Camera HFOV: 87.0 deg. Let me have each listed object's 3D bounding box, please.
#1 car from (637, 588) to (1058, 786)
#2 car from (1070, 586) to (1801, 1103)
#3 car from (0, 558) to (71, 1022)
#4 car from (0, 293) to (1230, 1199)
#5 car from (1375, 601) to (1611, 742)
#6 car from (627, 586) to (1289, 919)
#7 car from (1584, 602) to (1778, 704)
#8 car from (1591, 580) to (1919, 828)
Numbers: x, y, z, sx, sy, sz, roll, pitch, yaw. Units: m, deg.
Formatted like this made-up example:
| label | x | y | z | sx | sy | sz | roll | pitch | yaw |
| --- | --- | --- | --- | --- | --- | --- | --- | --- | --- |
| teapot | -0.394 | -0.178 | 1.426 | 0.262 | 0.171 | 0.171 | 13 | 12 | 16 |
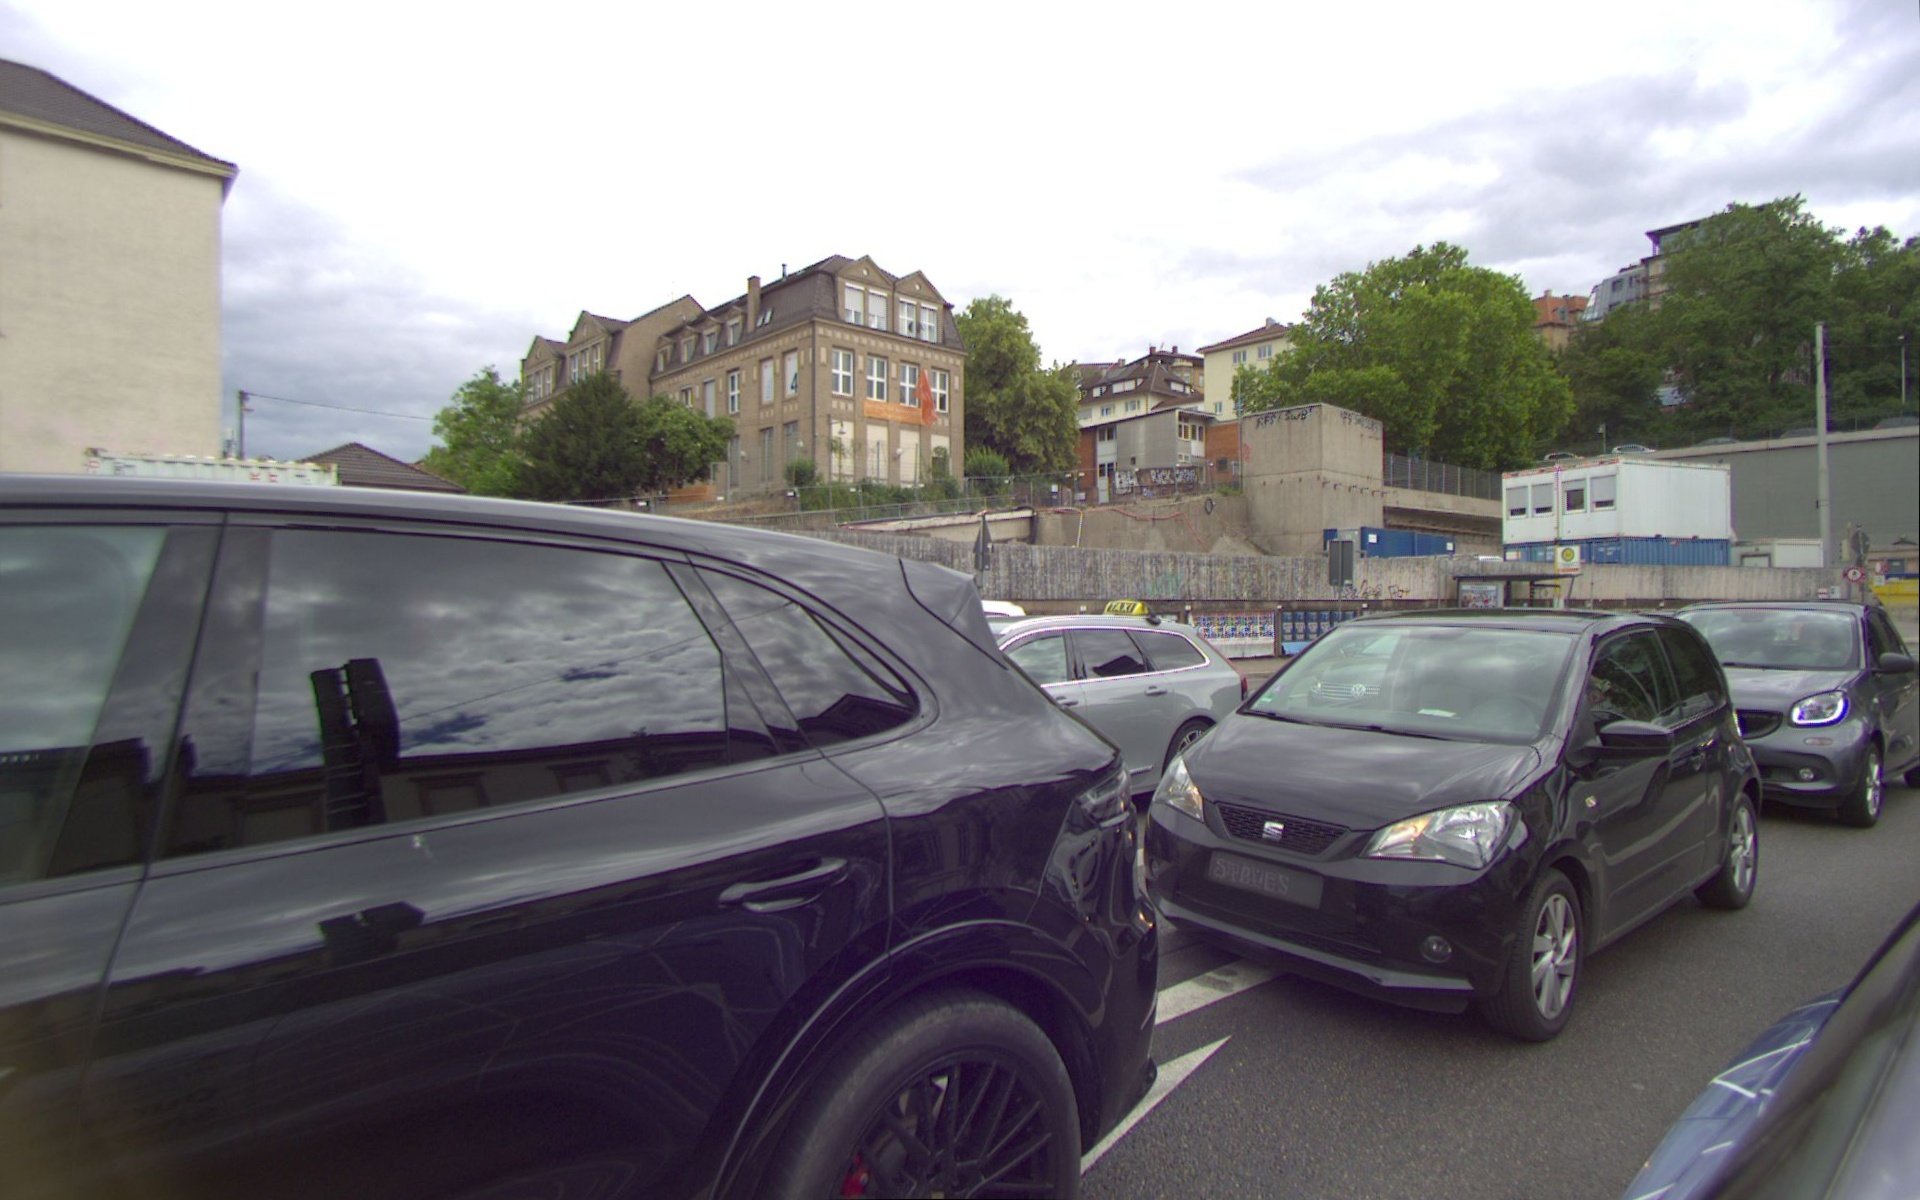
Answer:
| label | x | y | z | sx | sy | sz | roll | pitch | yaw |
| --- | --- | --- | --- | --- | --- | --- | --- | --- | --- |
| car | -1.015 | 0.708 | 10.478 | 4.136 | 1.645 | 1.679 | -1 | 0 | -41 |
| car | 2.428 | 0.679 | 4.791 | 3.636 | 1.476 | 1.827 | -1 | 0 | -41 |
| car | -5.312 | 0.687 | 3.039 | 3.930 | 1.645 | 1.679 | -1 | 0 | -41 |
| car | -1.630 | 0.565 | 1.600 | 4.406 | 1.737 | 1.827 | -1 | 0 | -41 |
| car | 6.431 | 0.749 | 12.163 | 2.667 | 1.449 | 1.664 | -1 | 0 | -41 |
| car | 0.261 | 0.731 | 7.261 | 4.725 | 1.645 | 1.827 | -1 | 0 | -41 |
| car | 11.499 | 0.750 | 16.055 | 3.740 | 1.383 | 1.679 | -1 | 0 | -41 |
| car | 6.700 | 0.662 | 8.185 | 3.511 | 1.563 | 1.720 | 0 | 0 | -40 |
